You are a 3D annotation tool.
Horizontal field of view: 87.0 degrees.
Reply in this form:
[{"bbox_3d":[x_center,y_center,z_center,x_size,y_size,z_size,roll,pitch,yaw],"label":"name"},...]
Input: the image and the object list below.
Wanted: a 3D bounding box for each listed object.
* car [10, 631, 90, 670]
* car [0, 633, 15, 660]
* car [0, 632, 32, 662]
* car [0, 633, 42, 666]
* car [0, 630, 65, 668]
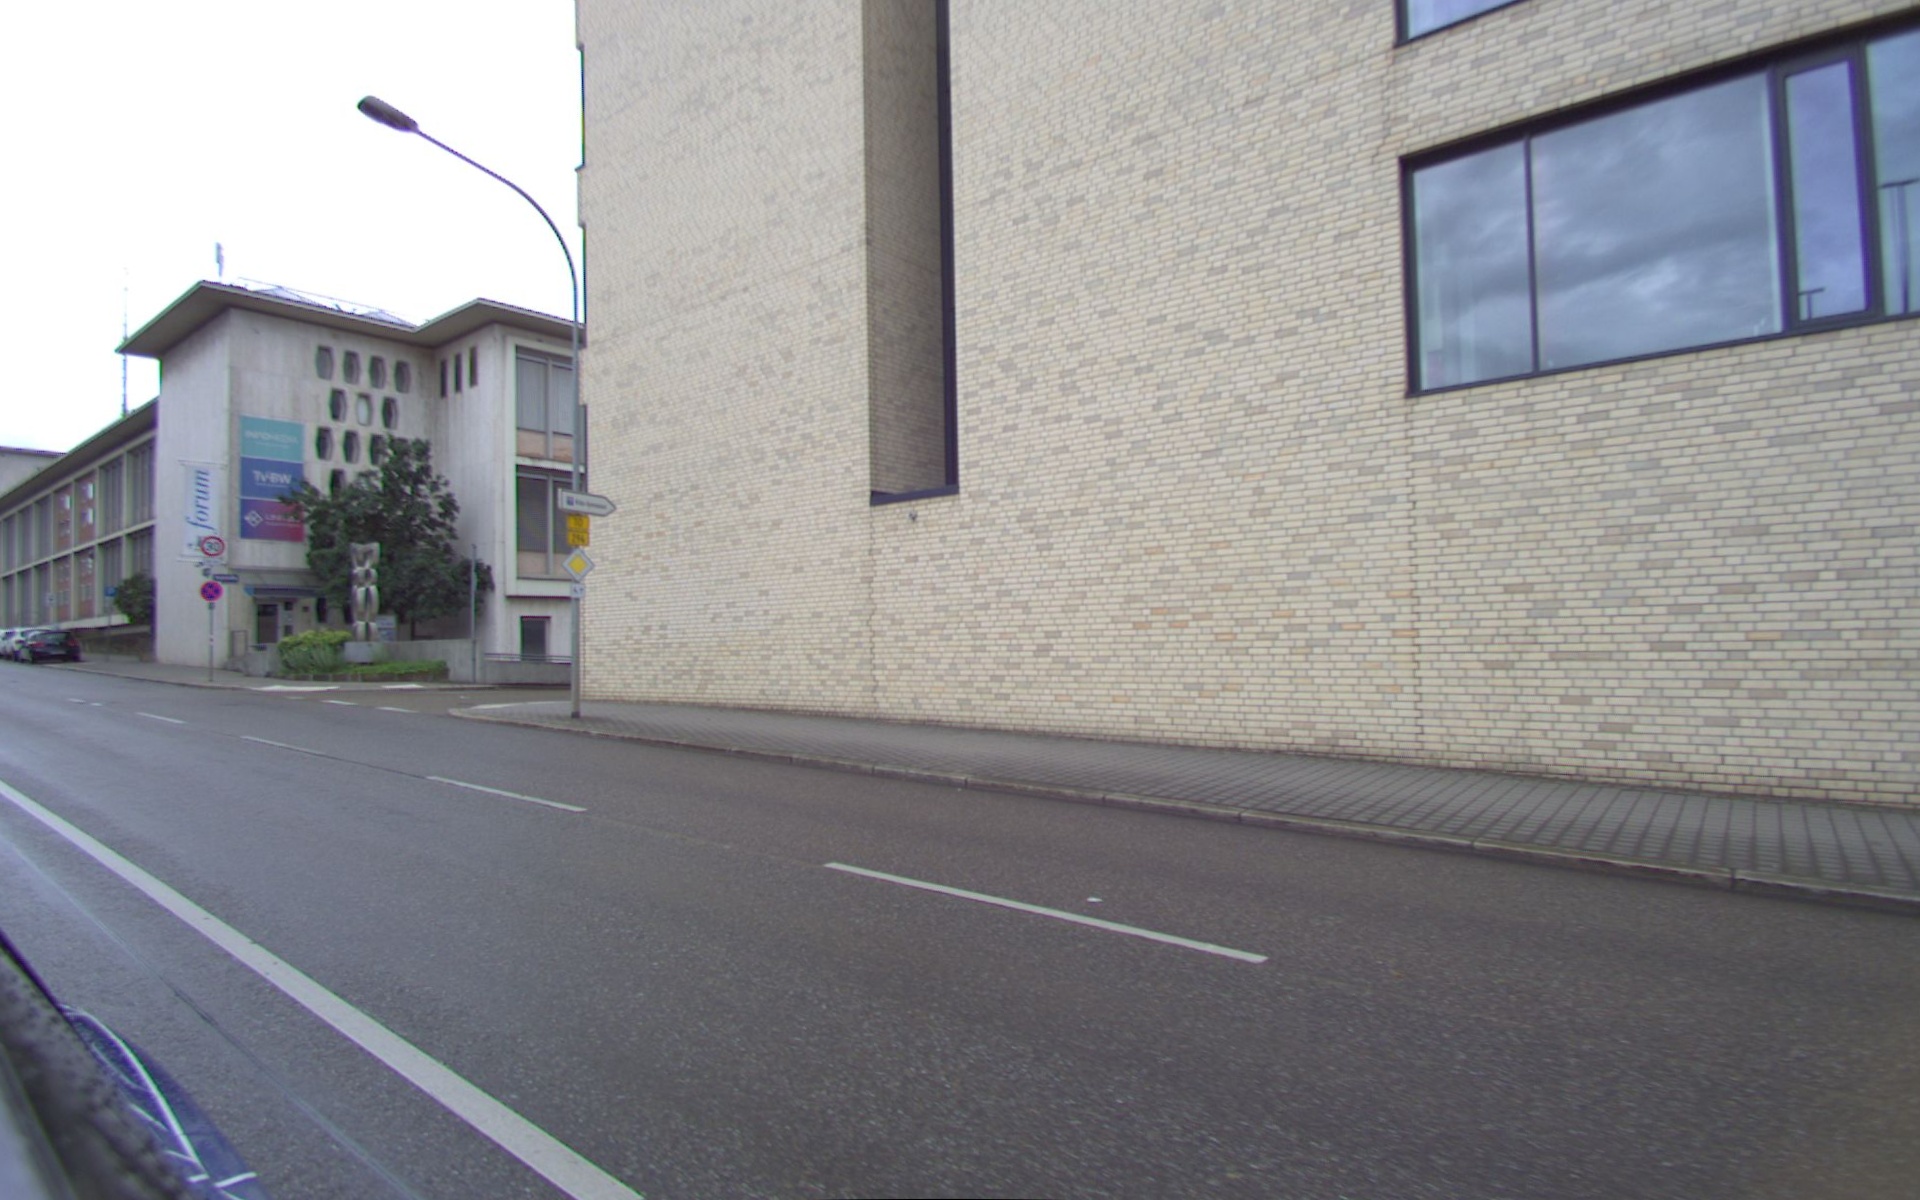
[{"bbox_3d":[-41.025,2.242,45.600,3.994,1.541,1.975,-1,1,38],"label":"car"},{"bbox_3d":[-57.815,2.694,59.996,3.995,1.542,1.974,-1,-5,39],"label":"car"},{"bbox_3d":[-52.980,2.593,55.924,4.182,1.502,1.974,-1,1,40],"label":"car"},{"bbox_3d":[-49.351,2.554,52.557,3.998,1.523,1.973,-1,1,41],"label":"car"},{"bbox_3d":[-45.098,2.349,49.043,3.996,1.654,1.974,-1,1,40],"label":"car"}]
